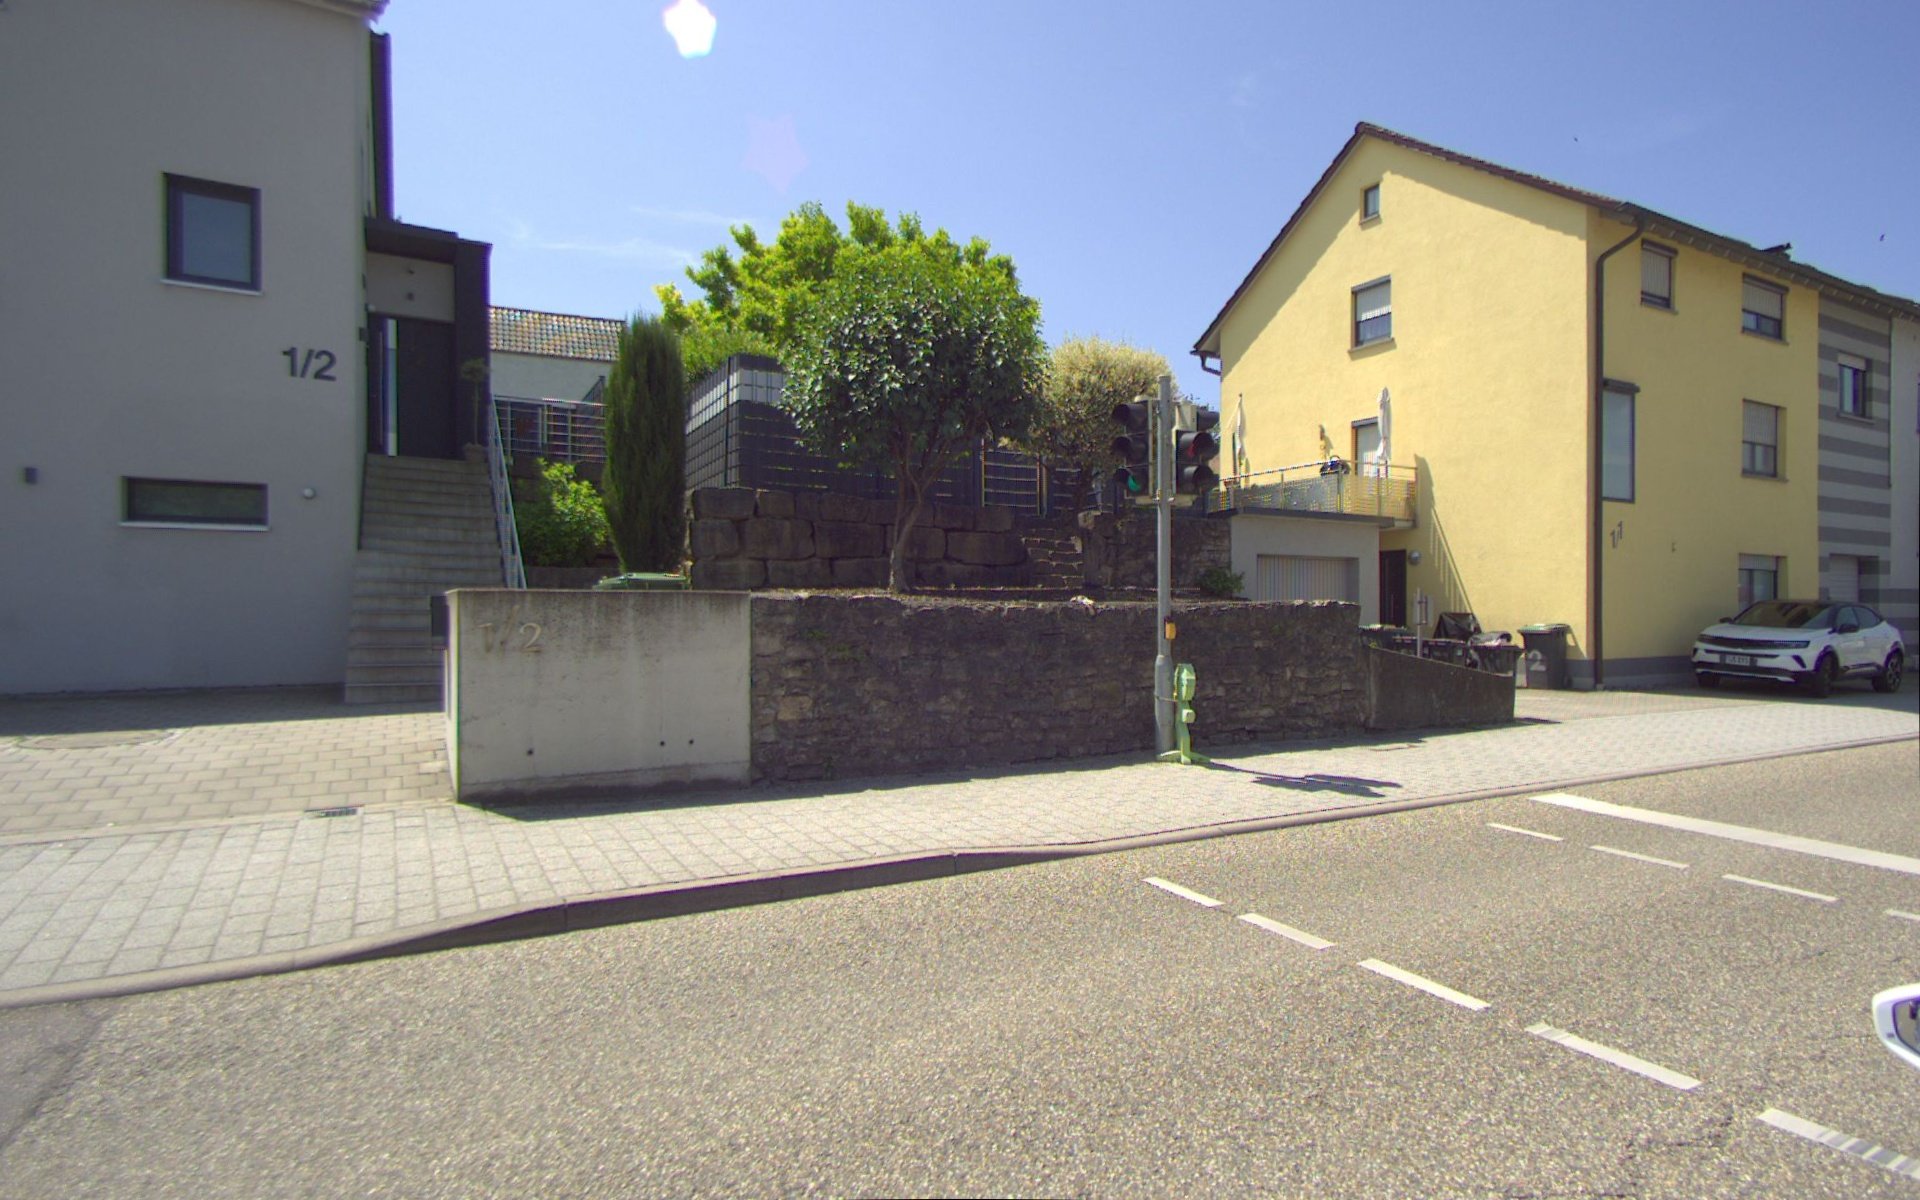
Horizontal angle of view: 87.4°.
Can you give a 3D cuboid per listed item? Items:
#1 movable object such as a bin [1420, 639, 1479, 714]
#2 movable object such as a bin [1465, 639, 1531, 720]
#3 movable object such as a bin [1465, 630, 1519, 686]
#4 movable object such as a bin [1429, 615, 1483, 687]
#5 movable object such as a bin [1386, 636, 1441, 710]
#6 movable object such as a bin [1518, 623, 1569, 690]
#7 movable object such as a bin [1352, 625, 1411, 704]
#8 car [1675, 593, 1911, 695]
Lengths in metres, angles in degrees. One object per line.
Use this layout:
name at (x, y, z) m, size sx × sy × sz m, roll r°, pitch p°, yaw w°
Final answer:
movable object such as a bin at (6.402, 0.990, 13.140) m, size 0.555 × 0.941 × 0.445 m, roll 1°, pitch 0°, yaw -30°
movable object such as a bin at (6.694, 0.972, 12.498) m, size 0.547 × 0.961 × 0.498 m, roll 1°, pitch 0°, yaw -30°
movable object such as a bin at (9.041, 0.979, 17.076) m, size 0.600 × 0.922 × 0.595 m, roll 1°, pitch -1°, yaw -30°
movable object such as a bin at (8.726, 0.885, 17.673) m, size 0.687 × 1.212 × 0.549 m, roll 1°, pitch 0°, yaw -30°
movable object such as a bin at (6.128, 0.972, 13.572) m, size 0.525 × 0.950 × 0.445 m, roll 1°, pitch 0°, yaw -30°
movable object such as a bin at (9.637, 0.924, 16.589) m, size 0.600 × 1.057 × 0.498 m, roll 1°, pitch 0°, yaw -30°
movable object such as a bin at (5.905, 0.891, 14.072) m, size 0.627 × 1.069 × 0.468 m, roll 1°, pitch 1°, yaw -30°
car at (14.313, 0.701, 17.229) m, size 4.137 × 1.573 × 1.723 m, roll 1°, pitch 0°, yaw -29°
